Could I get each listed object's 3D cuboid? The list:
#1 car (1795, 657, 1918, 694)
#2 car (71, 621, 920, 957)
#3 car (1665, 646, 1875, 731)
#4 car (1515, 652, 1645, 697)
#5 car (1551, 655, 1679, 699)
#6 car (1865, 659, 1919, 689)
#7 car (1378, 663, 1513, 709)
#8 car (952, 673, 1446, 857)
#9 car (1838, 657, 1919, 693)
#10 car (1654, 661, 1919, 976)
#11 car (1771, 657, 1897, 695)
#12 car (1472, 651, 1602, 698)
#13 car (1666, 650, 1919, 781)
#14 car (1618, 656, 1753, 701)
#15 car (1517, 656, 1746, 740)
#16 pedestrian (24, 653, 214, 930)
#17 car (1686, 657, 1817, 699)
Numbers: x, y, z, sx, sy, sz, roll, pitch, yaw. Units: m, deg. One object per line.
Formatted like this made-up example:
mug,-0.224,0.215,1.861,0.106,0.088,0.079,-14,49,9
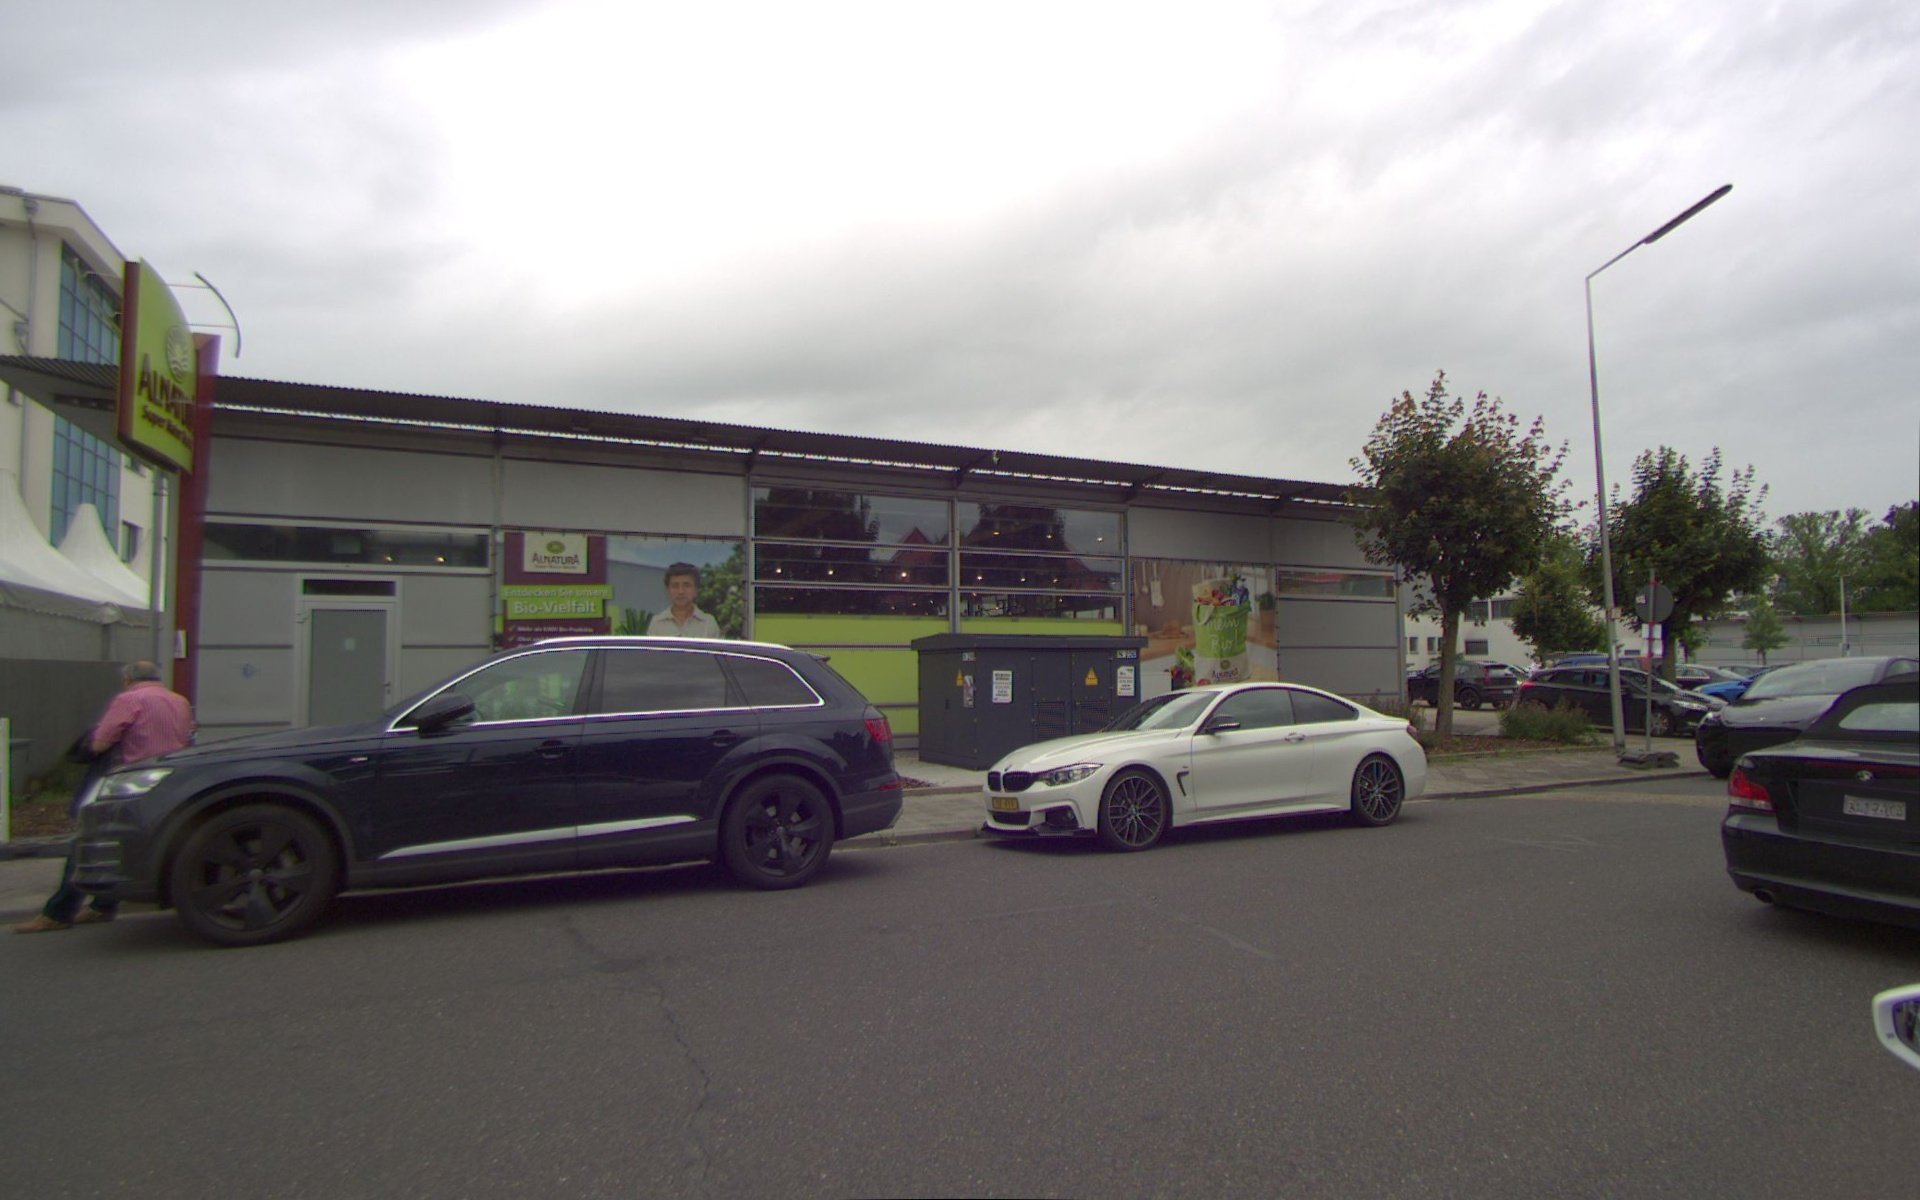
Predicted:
car,43.282,3.635,48.582,1.851,1.690,3.977,1,-4,-25
car,-2.796,1.130,7.020,4.664,1.712,1.862,1,-7,-25
car,21.157,2.289,26.398,1.742,2.039,3.910,2,-5,-32
car,24.358,2.919,39.633,1.851,1.690,3.977,1,-4,-25
car,26.445,3.093,40.695,1.851,1.690,3.977,1,-4,-25
car,48.176,3.696,50.178,1.761,1.511,3.978,1,-4,-24
car,16.910,2.968,35.038,3.937,1.504,1.870,-3,-5,37
car,2.303,1.465,9.531,4.458,1.384,1.695,2,-9,-26
car,45.867,3.642,49.139,1.851,1.690,3.977,1,-4,-25
car,6.001,1.038,5.460,4.079,1.376,1.742,2,-4,-23
car,40.461,3.519,46.620,1.851,1.690,3.977,1,-4,-25
car,22.059,2.833,38.585,1.851,1.690,3.977,1,-4,-25
car,12.025,1.558,13.769,4.346,1.545,1.941,2,-8,-27
car,29.070,3.126,40.361,1.851,1.690,3.977,1,-4,-25
car,14.957,2.107,22.602,1.901,1.641,3.863,1,-3,-24
pedestrian,-5.414,1.204,6.493,0.642,1.641,0.674,-6,-8,28
car,33.621,3.313,42.786,1.851,1.690,3.977,1,-4,-25
